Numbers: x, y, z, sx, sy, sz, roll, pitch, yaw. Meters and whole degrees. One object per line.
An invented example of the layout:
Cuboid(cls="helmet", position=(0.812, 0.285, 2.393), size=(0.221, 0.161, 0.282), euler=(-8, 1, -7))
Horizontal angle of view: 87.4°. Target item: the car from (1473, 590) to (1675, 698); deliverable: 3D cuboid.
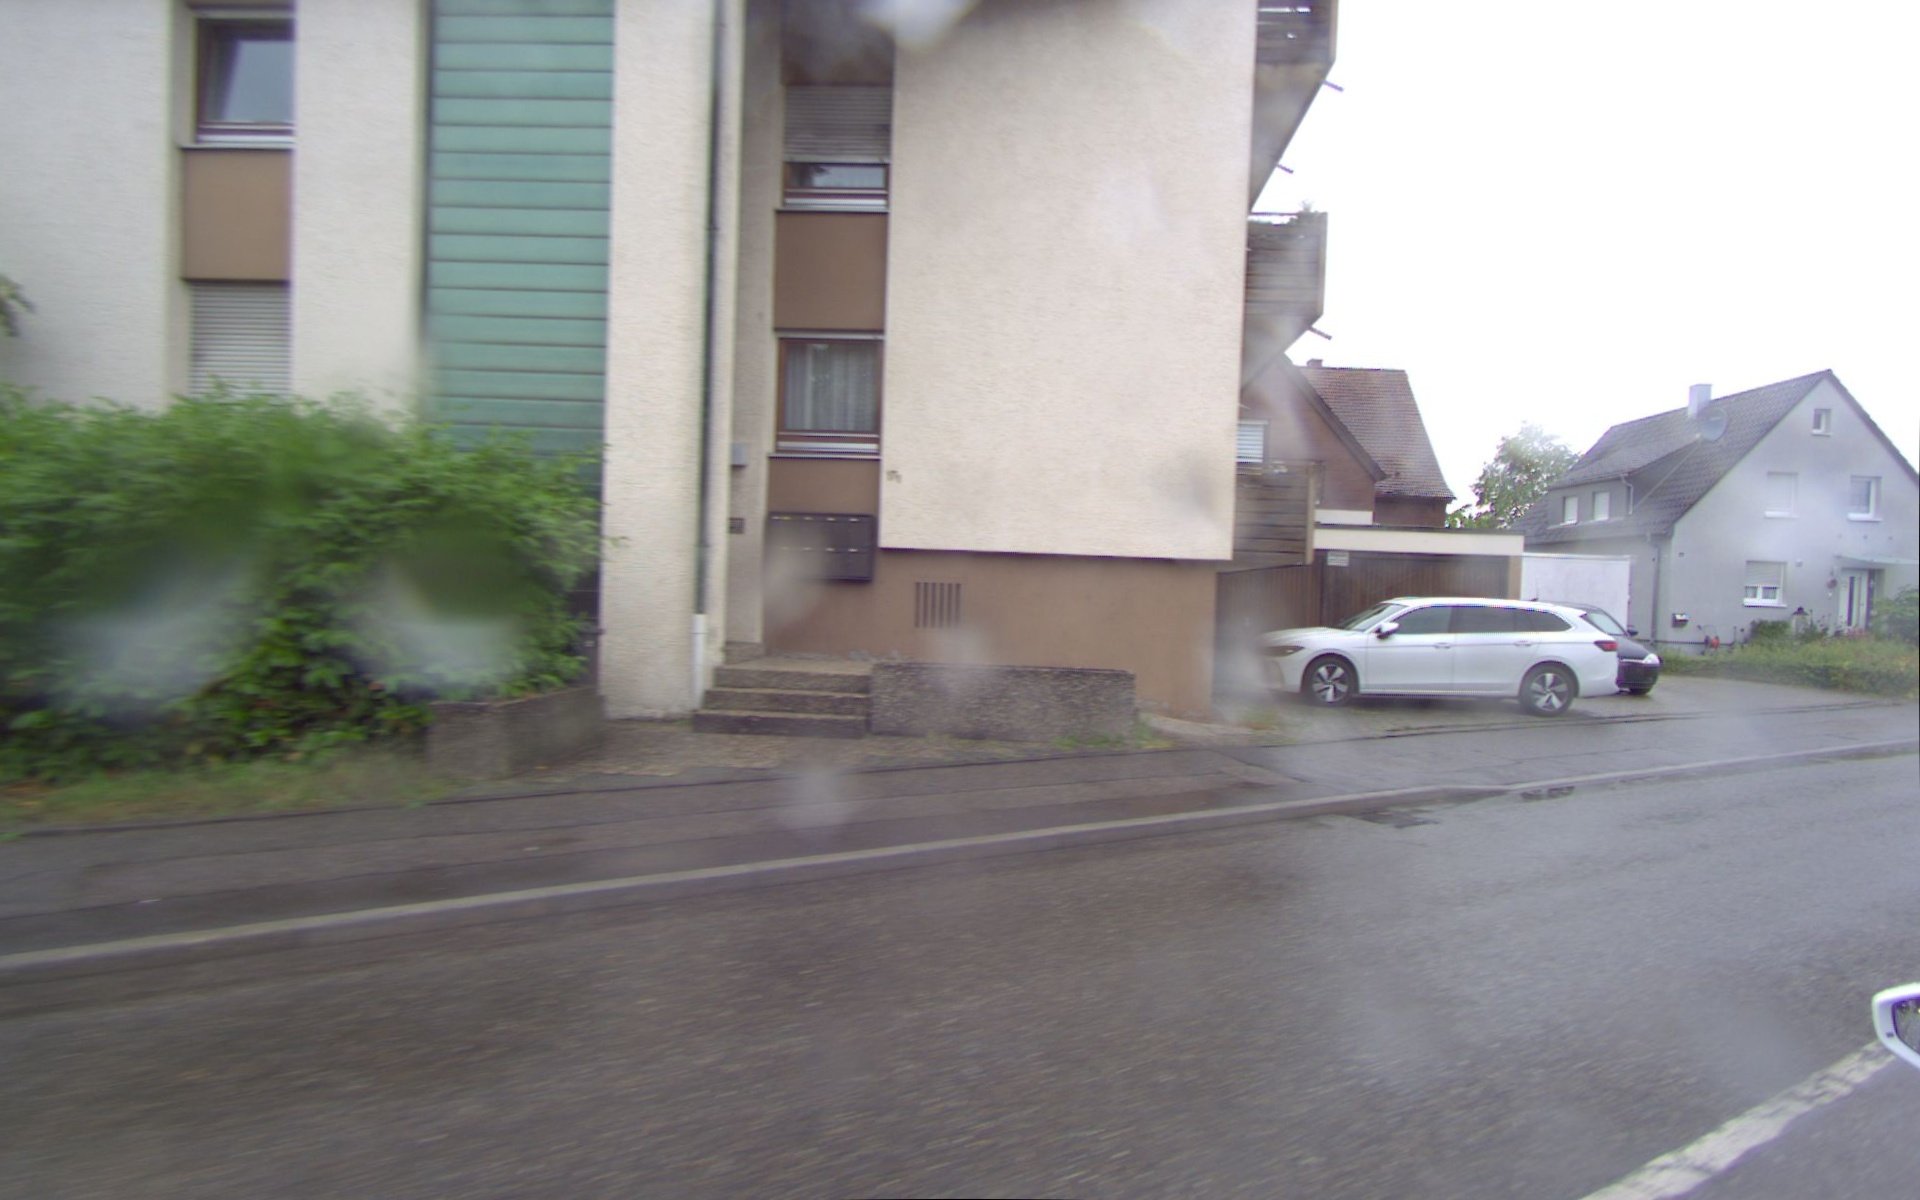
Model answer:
Cuboid(cls="car", position=(10.895, 0.690, 18.165), size=(1.667, 1.528, 3.775), euler=(3, 3, 8))

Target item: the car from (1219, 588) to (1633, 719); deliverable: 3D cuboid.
Cuboid(cls="car", position=(6.223, 0.675, 13.902), size=(4.784, 1.497, 1.907), euler=(2, 2, 3))
